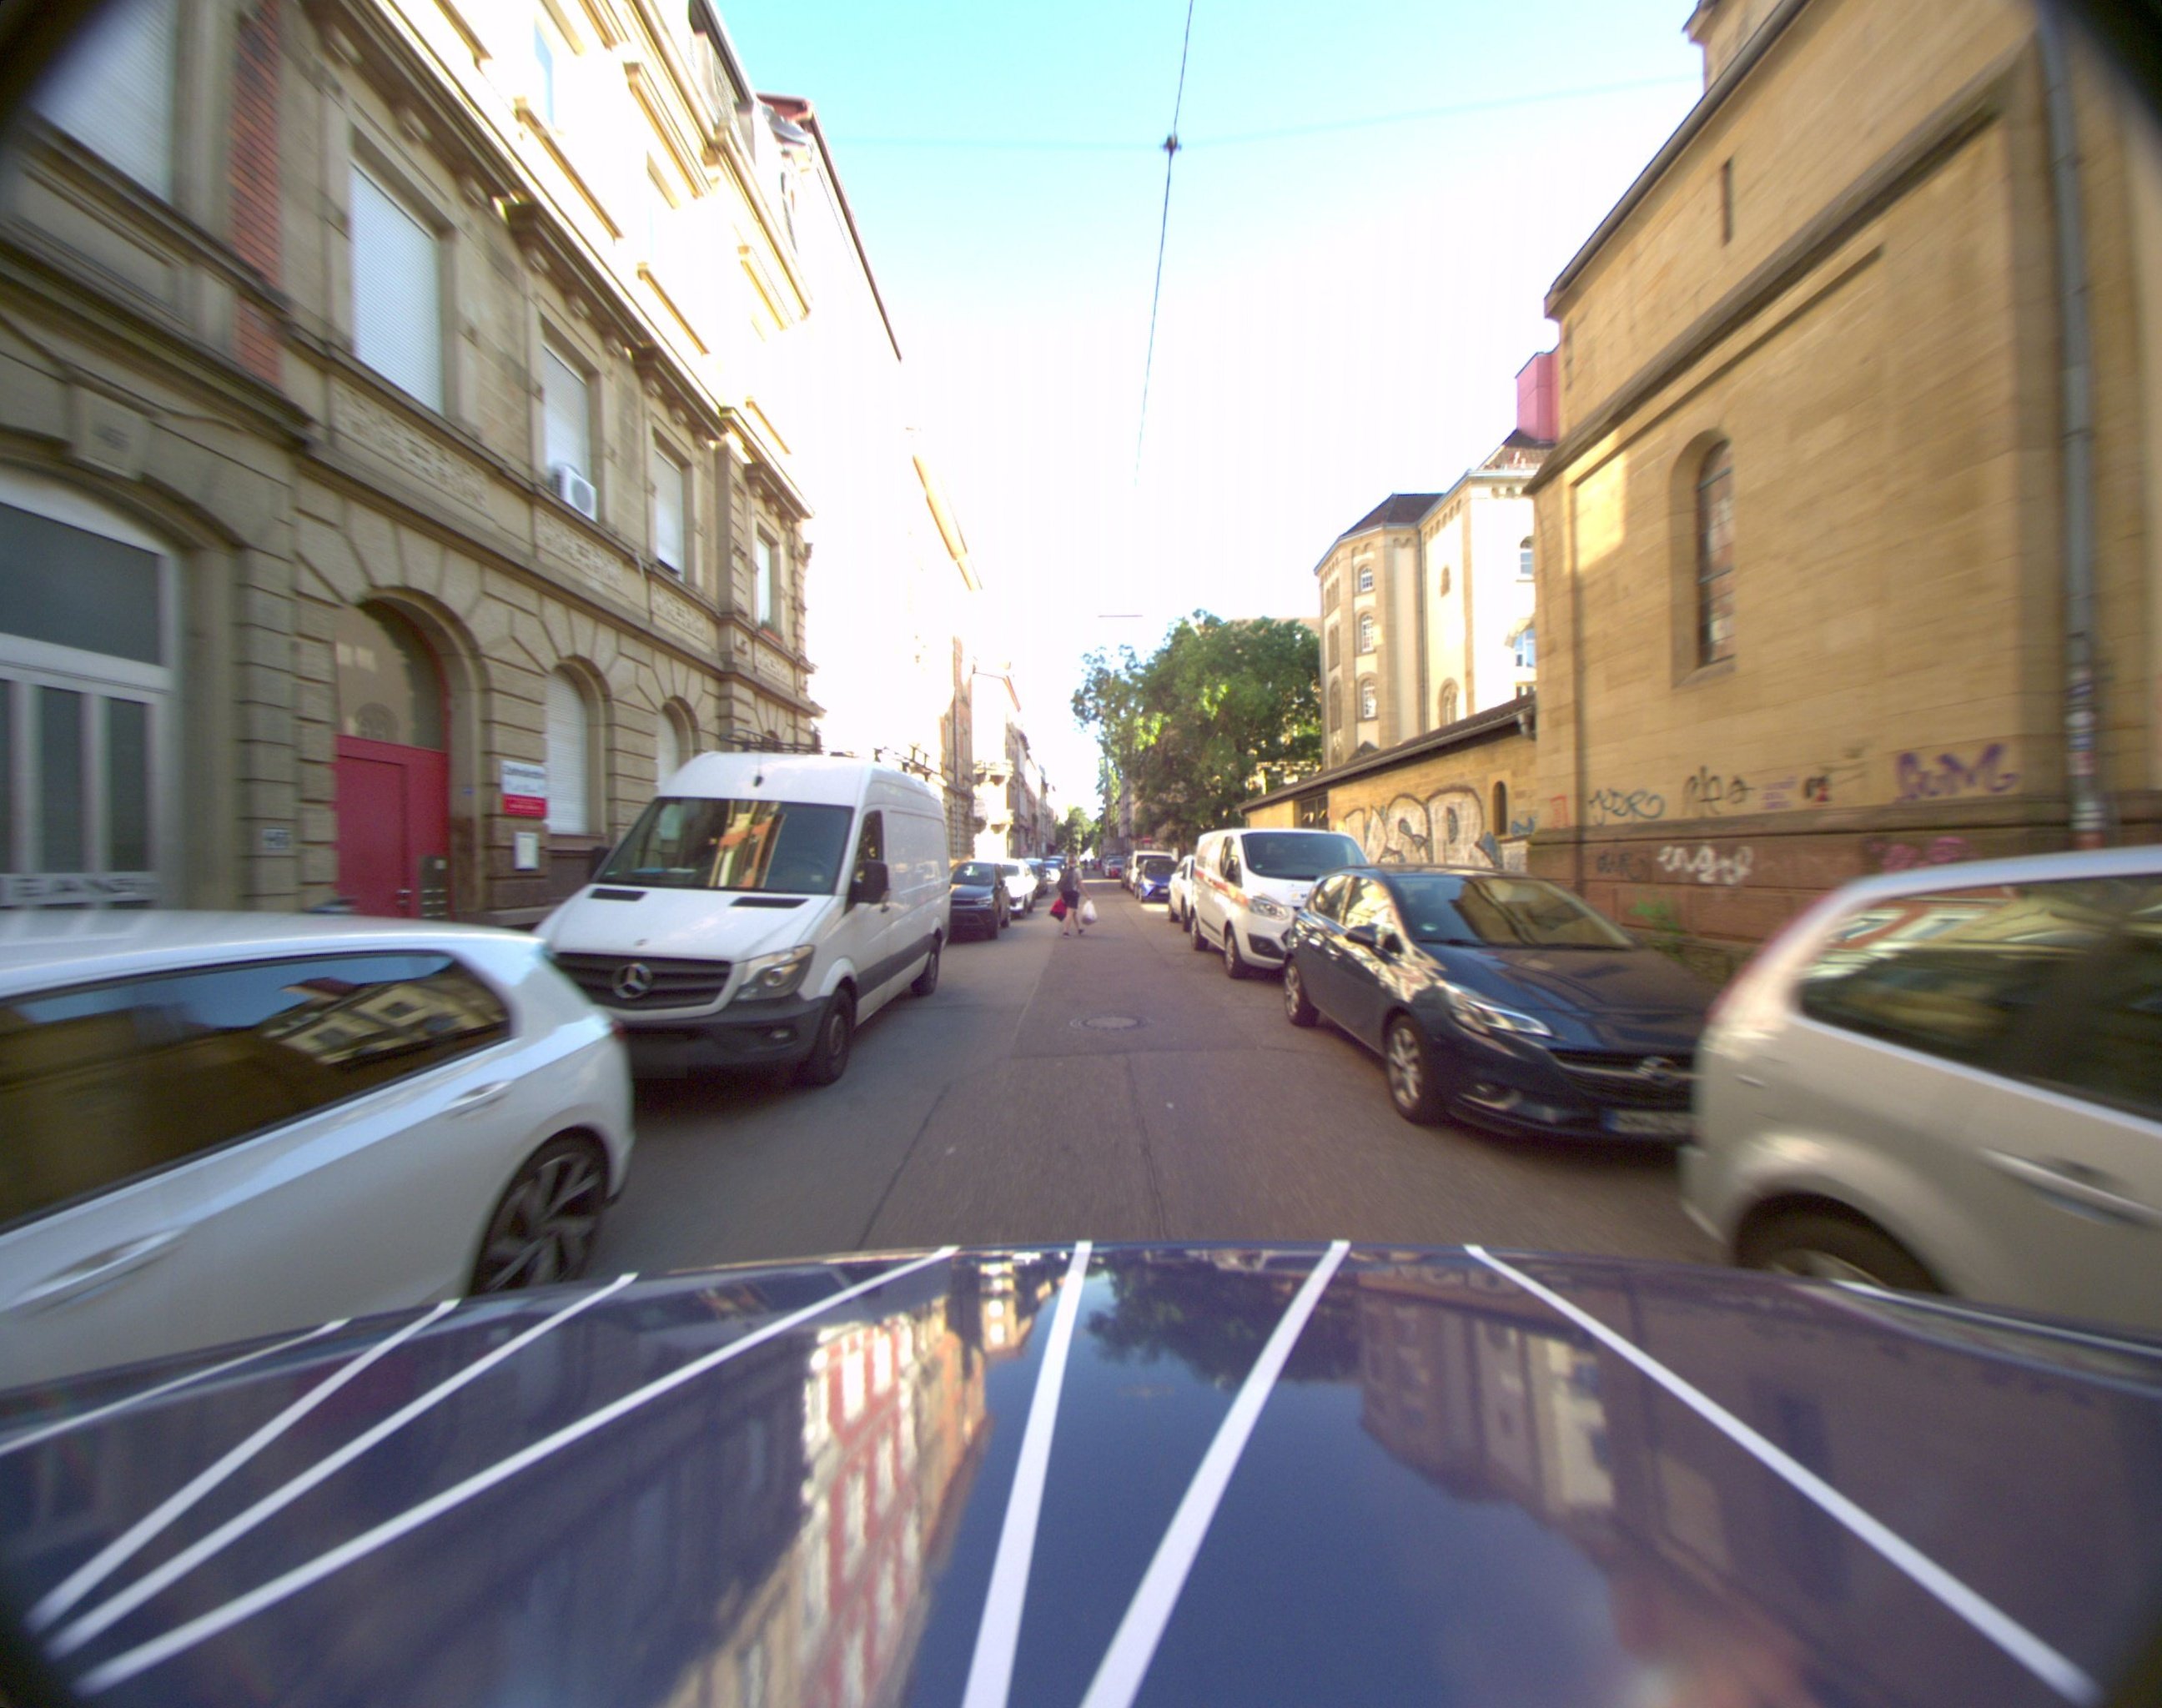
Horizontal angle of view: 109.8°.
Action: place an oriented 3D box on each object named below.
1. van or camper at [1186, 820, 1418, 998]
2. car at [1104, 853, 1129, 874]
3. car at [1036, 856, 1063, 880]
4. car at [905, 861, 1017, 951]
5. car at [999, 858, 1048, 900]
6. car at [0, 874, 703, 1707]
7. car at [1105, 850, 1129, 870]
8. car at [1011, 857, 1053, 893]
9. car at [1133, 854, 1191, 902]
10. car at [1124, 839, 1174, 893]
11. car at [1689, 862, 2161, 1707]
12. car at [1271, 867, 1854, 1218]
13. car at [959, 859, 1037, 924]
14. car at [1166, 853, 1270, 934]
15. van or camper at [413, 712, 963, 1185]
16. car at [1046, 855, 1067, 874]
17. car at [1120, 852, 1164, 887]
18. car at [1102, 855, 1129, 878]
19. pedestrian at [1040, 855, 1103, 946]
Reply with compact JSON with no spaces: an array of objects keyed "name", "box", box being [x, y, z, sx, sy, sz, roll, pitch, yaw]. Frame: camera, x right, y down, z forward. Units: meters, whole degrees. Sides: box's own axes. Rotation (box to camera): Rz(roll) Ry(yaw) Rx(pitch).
[{"name":"van or camper","box":[2.791,0.617,10.810,1.984,1.939,4.563,-2,0,1]},{"name":"car","box":[2.838,0.742,61.365,1.777,1.614,4.022,-2,0,-1]},{"name":"car","box":[-2.246,0.974,54.997,1.696,1.615,3.963,-2,0,1]},{"name":"car","box":[-2.424,1.000,16.274,1.696,1.615,3.813,-2,0,1]},{"name":"car","box":[-2.395,1.011,32.572,1.696,1.615,3.963,-2,0,1]},{"name":"car","box":[-2.855,0.977,1.323,1.998,1.637,4.563,-2,1,1]},{"name":"car","box":[3.158,0.518,67.271,1.777,1.614,4.022,-2,0,-1]},{"name":"car","box":[-2.387,1.002,37.838,1.696,1.615,3.963,-2,0,1]},{"name":"car","box":[2.833,0.804,27.317,1.696,1.529,3.813,-2,0,1]},{"name":"car","box":[2.854,0.479,32.728,1.777,2.128,4.022,-2,0,1]},{"name":"car","box":[2.599,0.845,0.198,1.724,1.558,4.000,-2,1,1]},{"name":"car","box":[2.627,0.879,5.276,1.696,1.472,3.736,-2,0,1]},{"name":"car","box":[-2.271,0.980,21.684,1.696,1.615,3.963,-2,0,1]},{"name":"car","box":[2.914,0.785,16.864,1.653,1.557,3.640,-2,0,1]},{"name":"van or camper","box":[-2.686,0.513,7.303,1.998,2.617,5.978,-2,1,1]},{"name":"car","box":[-2.170,0.940,69.447,1.696,1.705,3.963,-2,0,1]},{"name":"car","box":[3.015,0.740,38.206,1.777,1.614,4.022,-2,0,-1]},{"name":"car","box":[2.530,0.873,56.713,1.777,1.614,4.022,-2,0,-1]},{"name":"pedestrian","box":[-0.180,0.900,15.019,0.827,1.703,0.876,-3,1,31]}]
